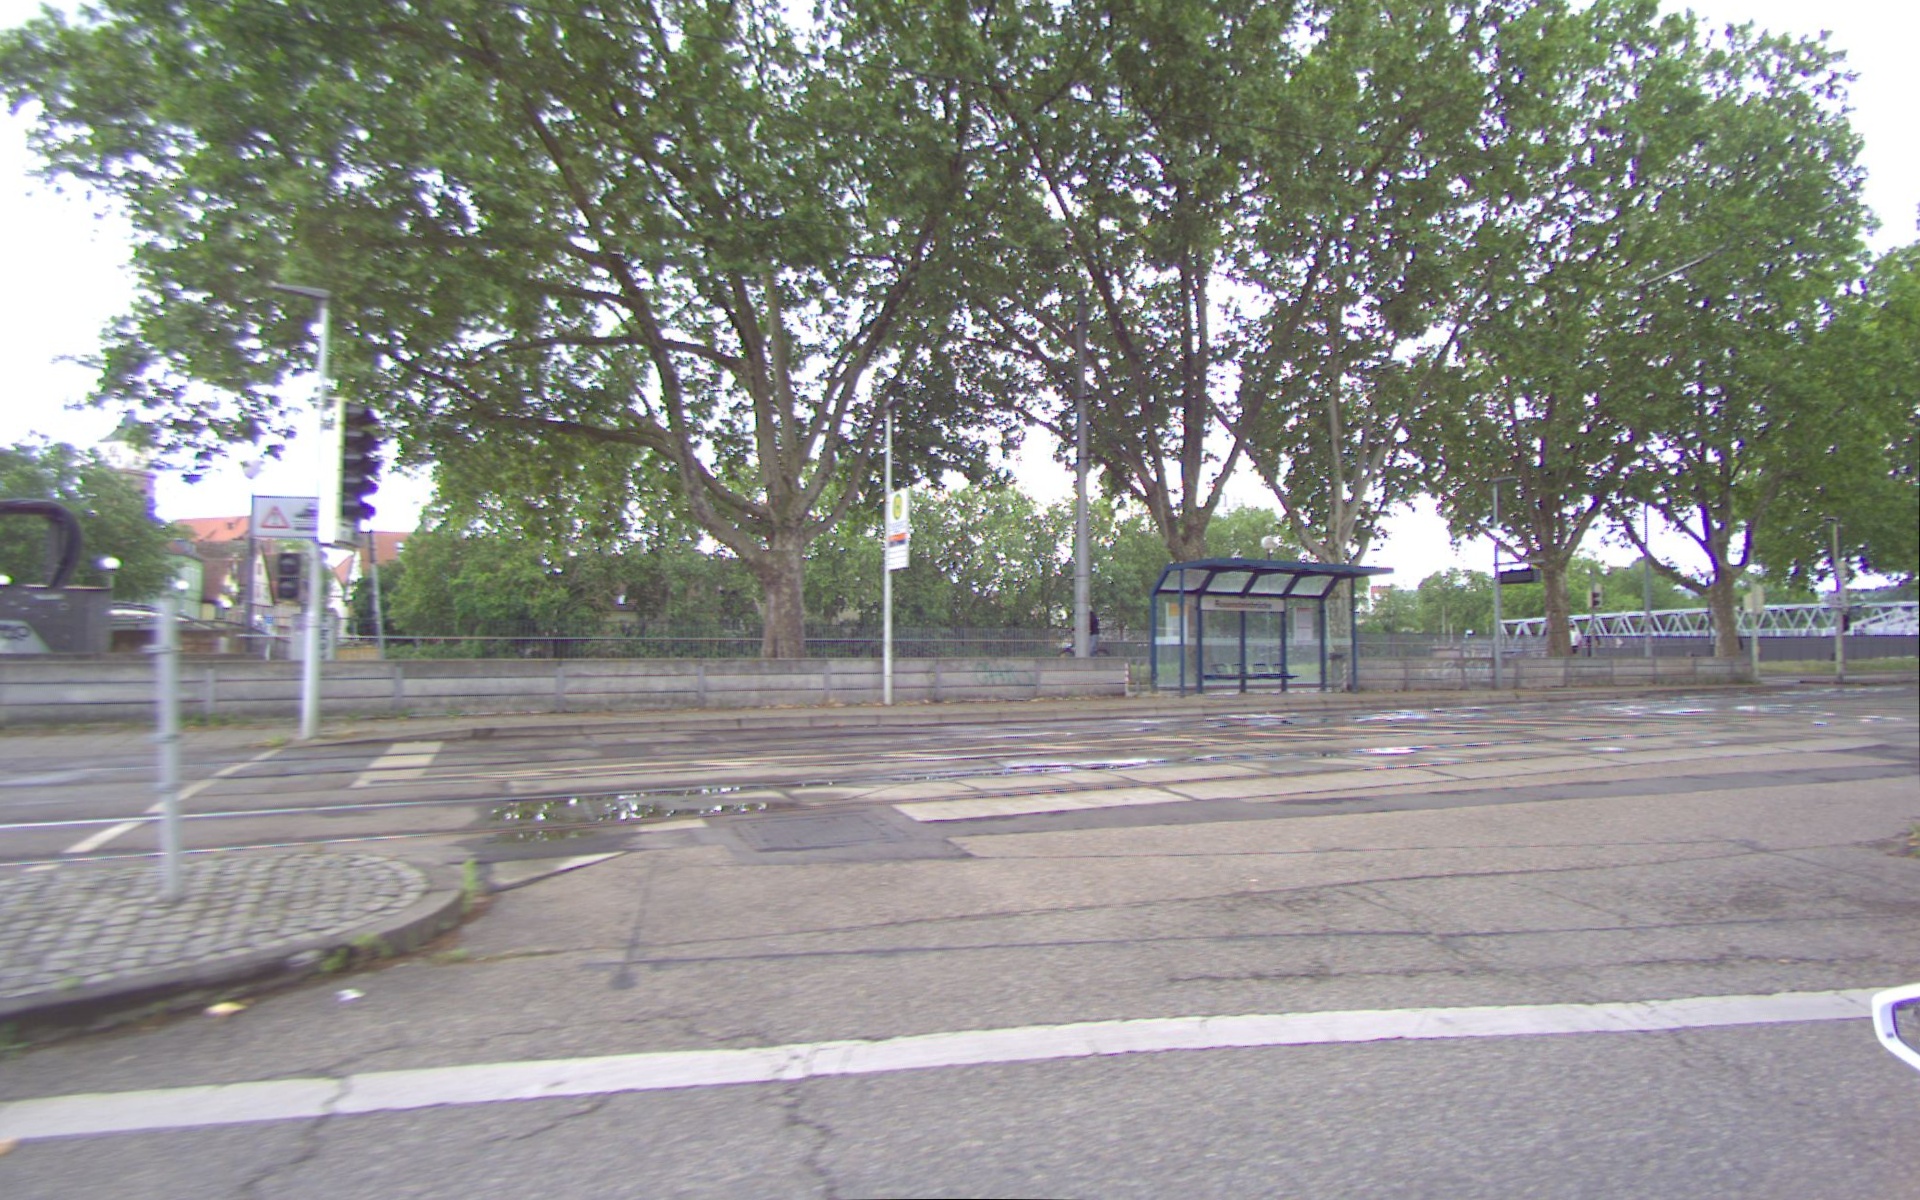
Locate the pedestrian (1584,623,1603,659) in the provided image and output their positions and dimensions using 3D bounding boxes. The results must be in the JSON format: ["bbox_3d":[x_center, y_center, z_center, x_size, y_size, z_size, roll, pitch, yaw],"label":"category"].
[{"bbox_3d":[26.135,1.683,41.433,0.505,1.470,0.469,3,-4,-30],"label":"pedestrian"}]

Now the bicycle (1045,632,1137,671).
[{"bbox_3d":[3.654,1.455,27.927,2.465,1.027,0.928,3,-4,-27],"label":"bicycle"}]

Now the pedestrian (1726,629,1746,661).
[{"bbox_3d":[37.521,2.177,48.546,0.636,1.517,0.542,3,-4,-30],"label":"pedestrian"}]

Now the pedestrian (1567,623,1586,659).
[{"bbox_3d":[25.724,1.718,41.891,0.505,1.470,0.469,3,-4,-30],"label":"pedestrian"}]

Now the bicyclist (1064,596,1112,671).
[{"bbox_3d":[3.538,0.951,27.866,0.964,2.039,0.952,2,-4,-26],"label":"bicyclist"}]
